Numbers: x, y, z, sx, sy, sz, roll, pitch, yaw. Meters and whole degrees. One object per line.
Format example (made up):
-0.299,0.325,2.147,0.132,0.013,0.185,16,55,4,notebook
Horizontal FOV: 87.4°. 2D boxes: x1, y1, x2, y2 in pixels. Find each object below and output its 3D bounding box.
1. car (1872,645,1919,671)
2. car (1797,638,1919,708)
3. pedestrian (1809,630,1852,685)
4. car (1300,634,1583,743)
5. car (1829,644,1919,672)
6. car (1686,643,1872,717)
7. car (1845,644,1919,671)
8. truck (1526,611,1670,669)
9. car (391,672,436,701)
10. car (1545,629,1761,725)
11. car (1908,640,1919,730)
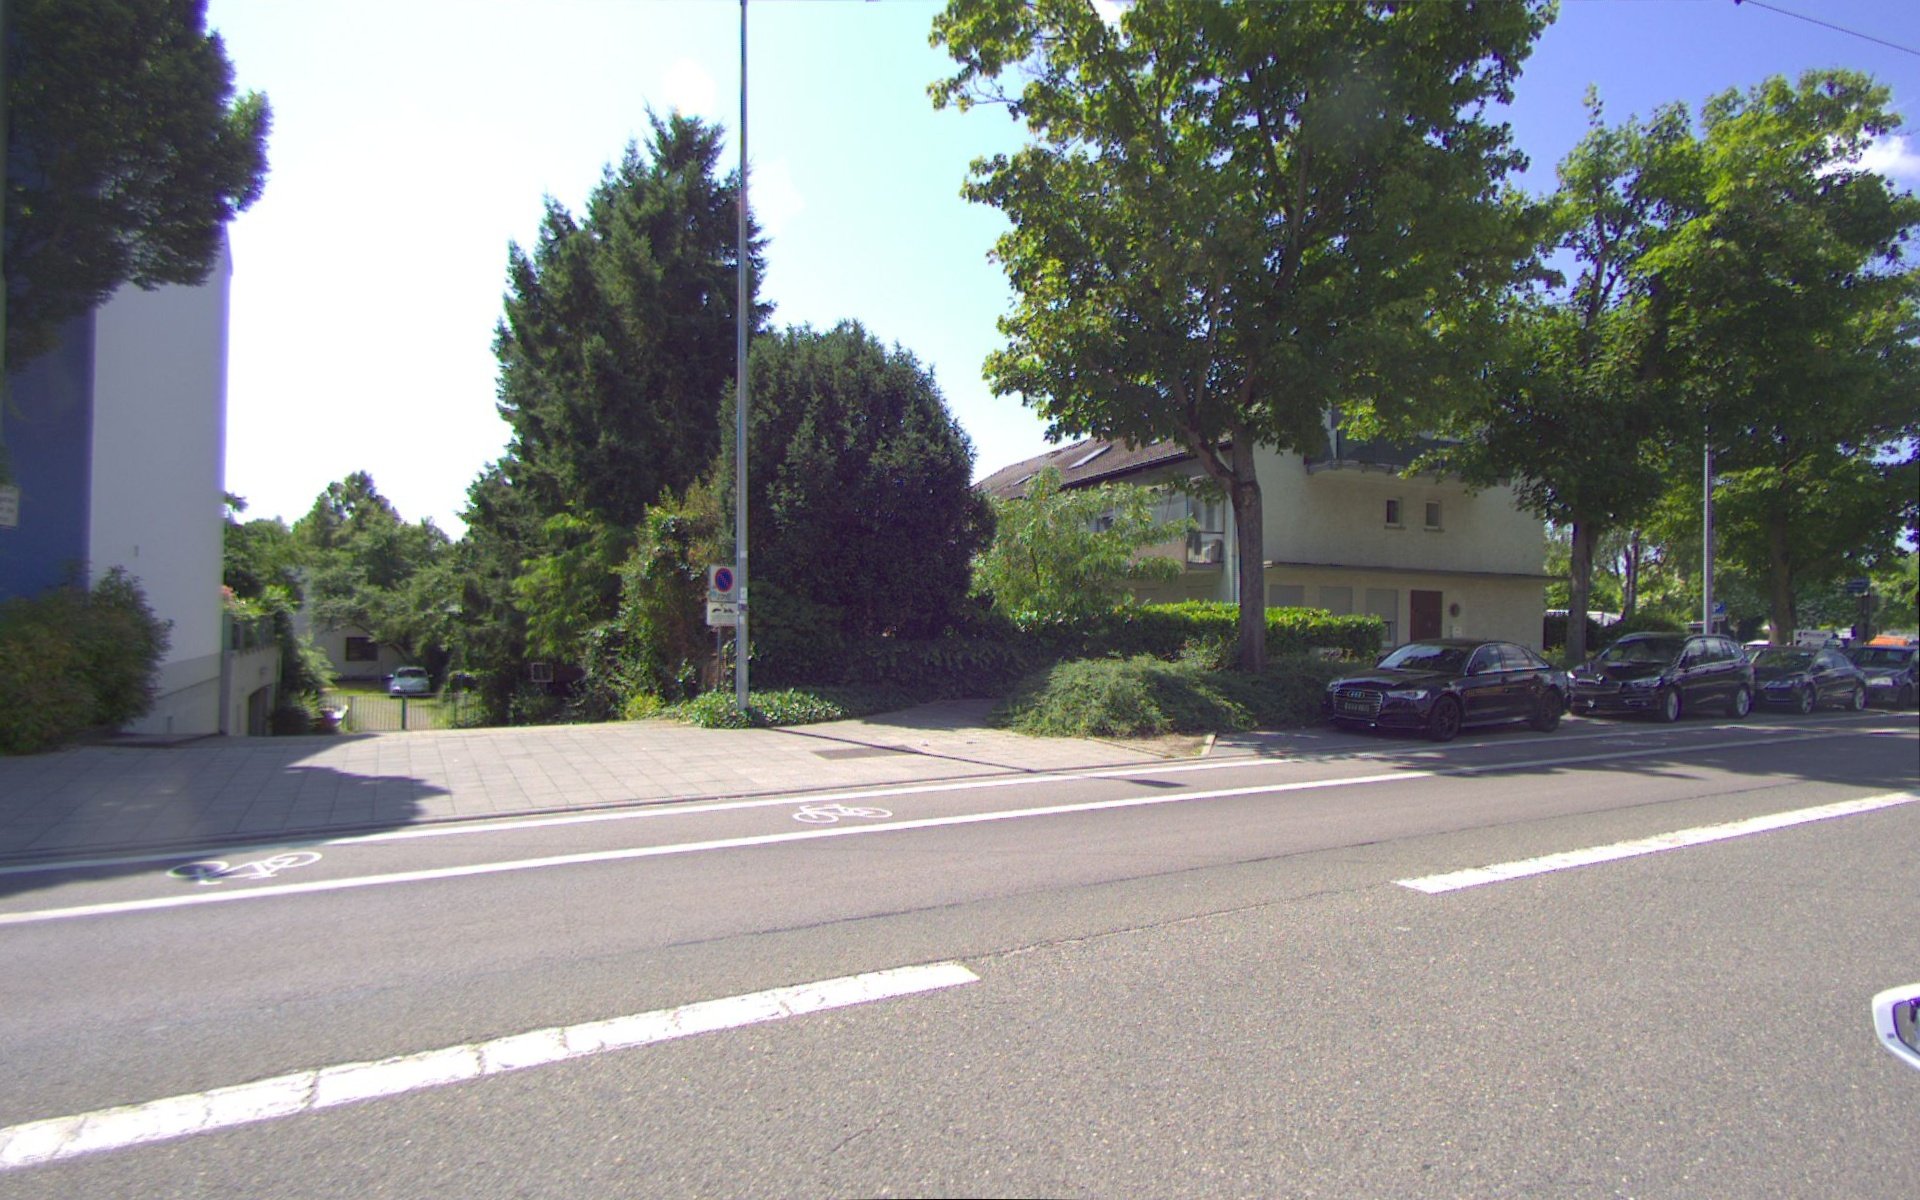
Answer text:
52.859,3.200,55.033,1.784,1.357,3.968,2,-2,-30,car
22.556,1.744,24.694,4.000,1.500,1.766,2,0,-30,car
30.322,1.993,34.998,0.786,1.847,0.969,2,-2,-32,pedestrian
7.701,1.309,15.917,4.750,1.475,1.765,2,-1,-32,car
48.340,3.012,52.597,1.784,1.357,3.968,2,-2,-30,car
18.267,1.710,22.359,4.644,1.391,1.765,2,1,-32,car
50.514,3.094,54.050,1.784,1.357,3.968,2,-2,-30,car
38.451,2.360,60.826,2.306,3.270,7.150,2,-2,-31,truck
-28.465,4.479,52.301,1.825,1.371,3.967,2,-4,-32,car
13.565,1.427,19.584,4.585,1.625,1.765,2,0,-32,car
17.974,1.430,17.019,4.148,1.479,1.766,2,-3,-32,car
